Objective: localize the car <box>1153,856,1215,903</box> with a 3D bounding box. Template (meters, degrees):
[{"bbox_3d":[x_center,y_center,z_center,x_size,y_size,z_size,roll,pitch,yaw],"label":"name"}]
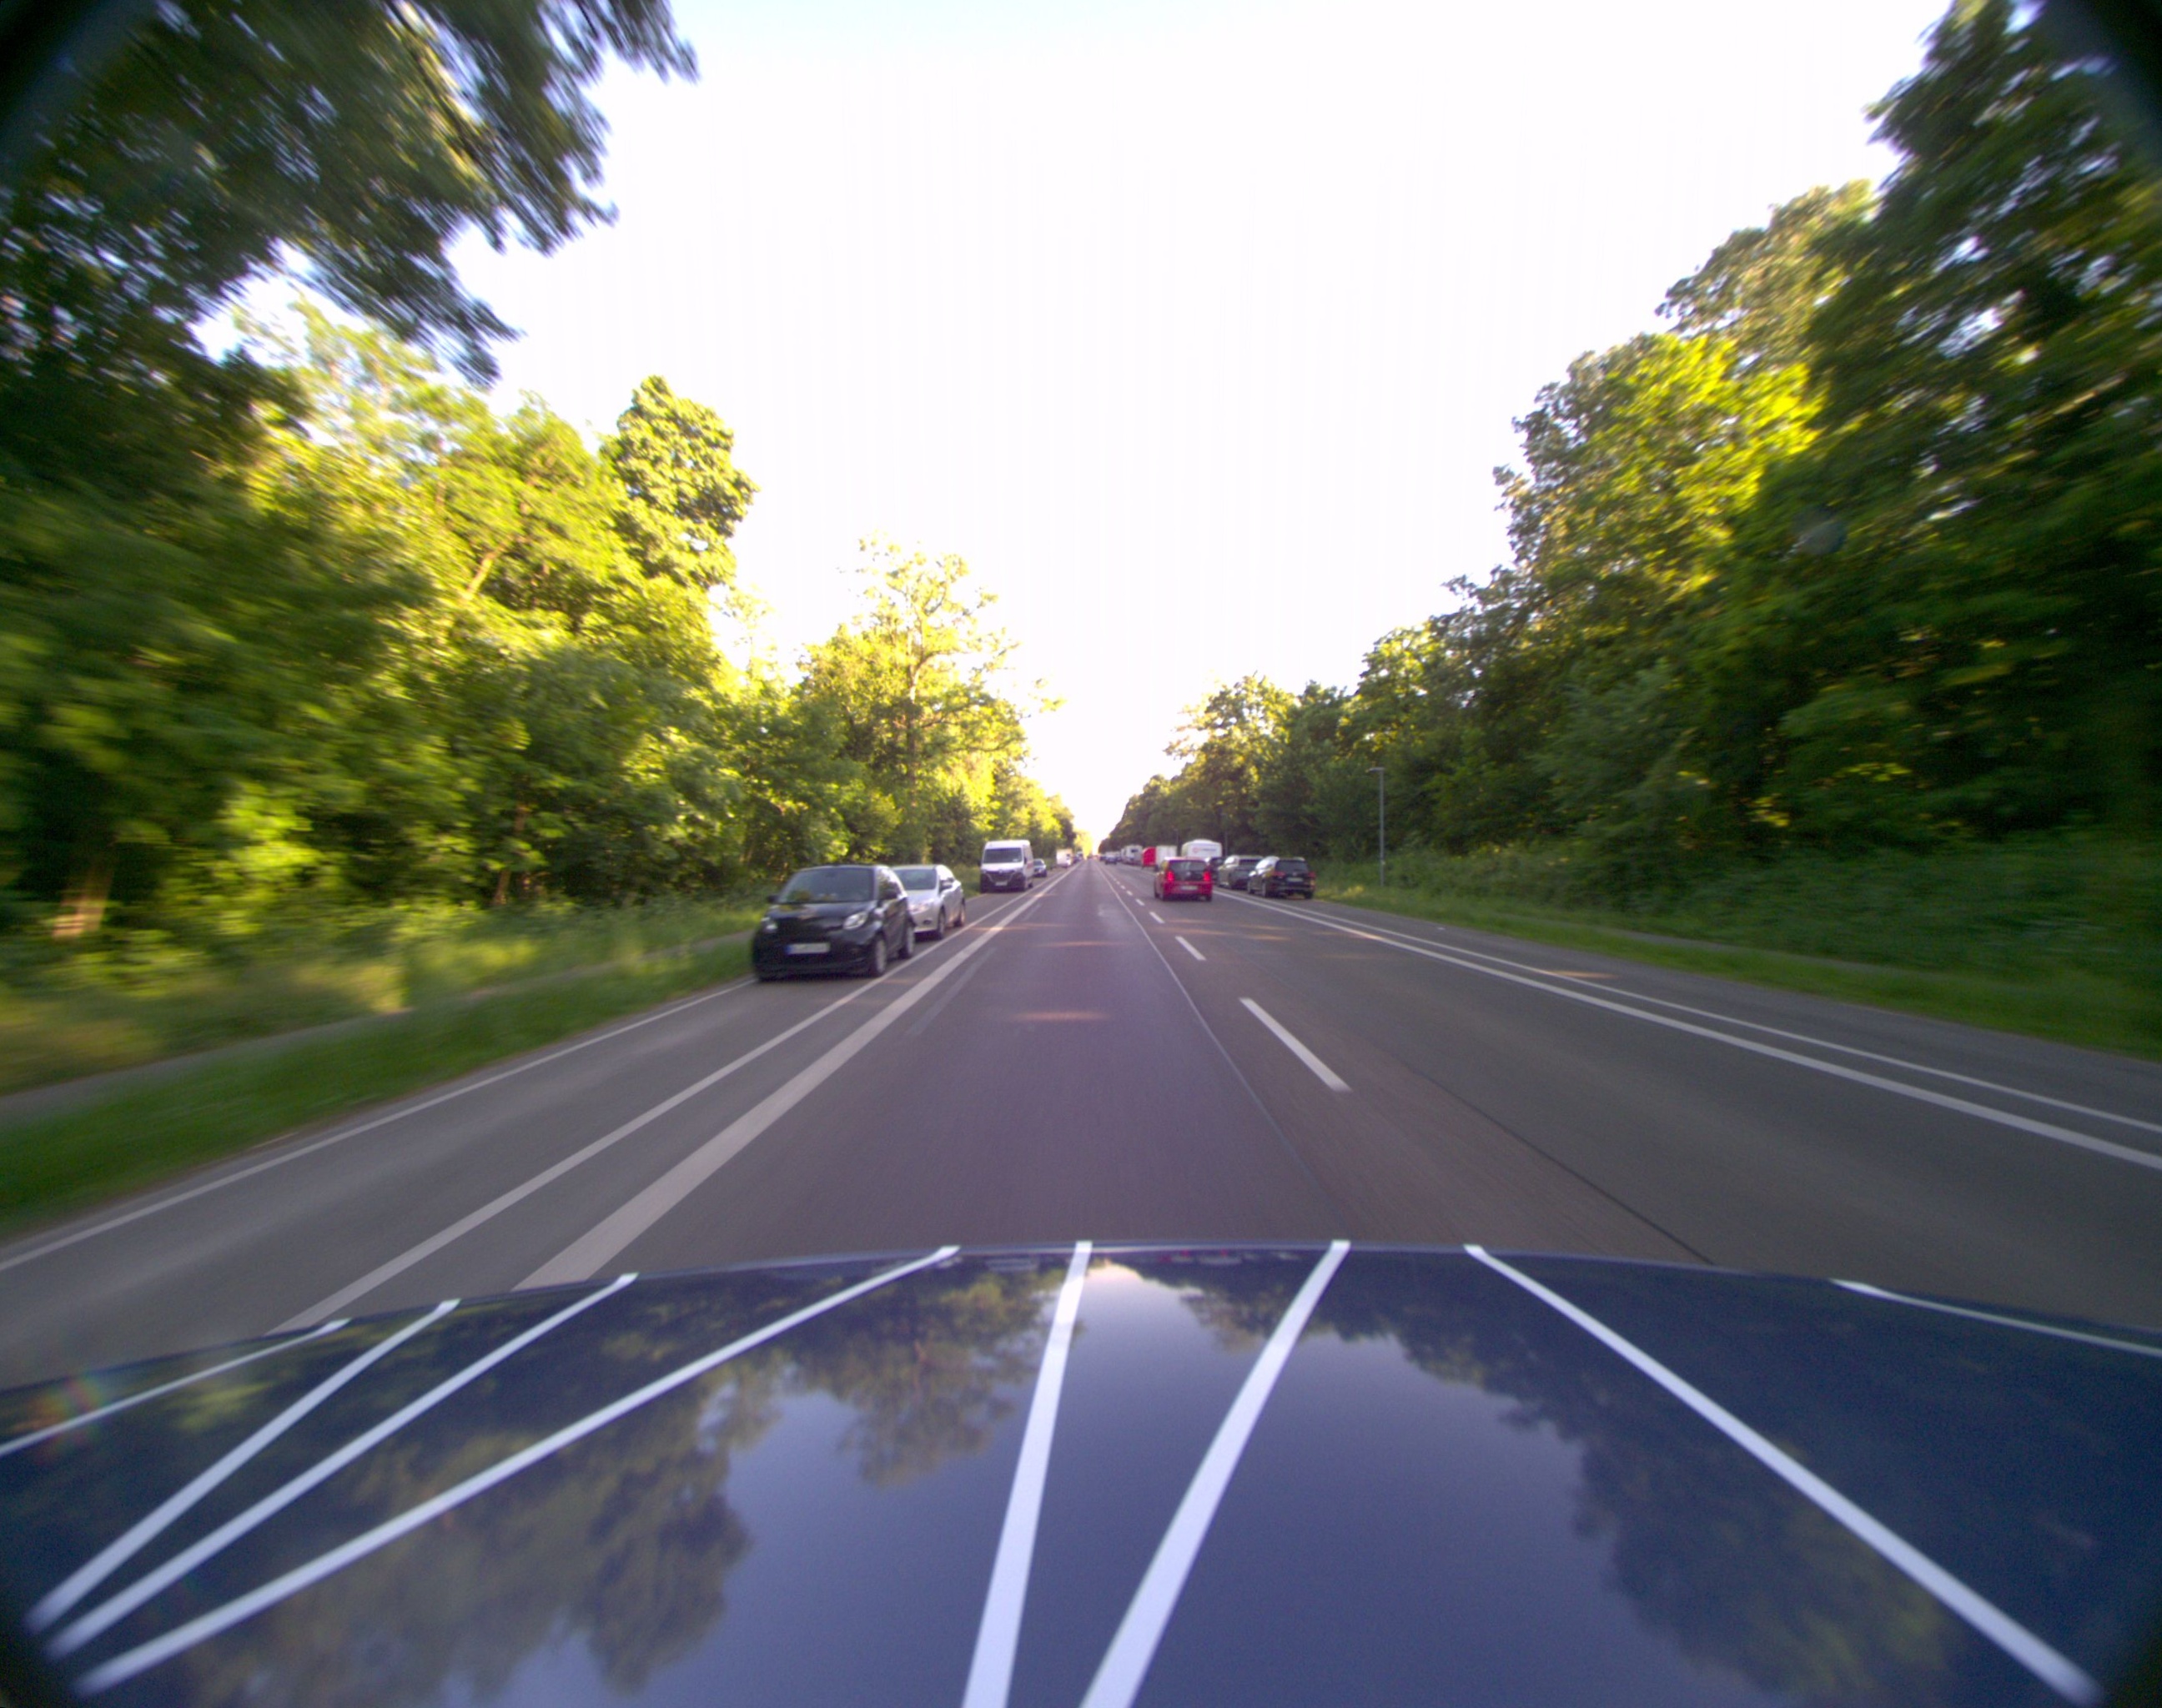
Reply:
[{"bbox_3d":[3.386,0.806,25.498,1.608,1.412,3.518,1,0,1],"label":"car"}]

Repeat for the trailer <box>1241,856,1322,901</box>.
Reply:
[{"bbox_3d":[7.322,0.837,28.188,1.845,1.457,4.466,-1,0,1],"label":"trailer"}]

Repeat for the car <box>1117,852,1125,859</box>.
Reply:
[{"bbox_3d":[9.521,0.347,179.506,1.787,1.485,4.001,0,0,5],"label":"car"}]

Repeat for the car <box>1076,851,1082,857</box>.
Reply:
[{"bbox_3d":[-0.544,0.081,218.590,1.837,1.608,4.000,-1,0,1],"label":"car"}]

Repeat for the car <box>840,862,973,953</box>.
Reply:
[{"bbox_3d":[-3.459,0.990,15.908,1.739,1.479,4.400,-3,0,0],"label":"car"}]

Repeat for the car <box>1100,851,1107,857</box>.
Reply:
[{"bbox_3d":[6.014,0.056,200.344,1.823,1.577,4.459,0,1,1],"label":"car"}]

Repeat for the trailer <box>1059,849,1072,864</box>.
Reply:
[{"bbox_3d":[-2.179,0.336,105.525,1.758,2.149,3.539,-1,0,0],"label":"trailer"}]

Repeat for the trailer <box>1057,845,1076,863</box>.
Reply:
[{"bbox_3d":[-2.421,-0.069,127.814,2.928,2.825,9.881,-4,1,0],"label":"trailer"}]

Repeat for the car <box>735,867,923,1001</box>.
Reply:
[{"bbox_3d":[-3.418,1.014,10.883,1.590,1.521,3.011,-2,0,1],"label":"car"}]

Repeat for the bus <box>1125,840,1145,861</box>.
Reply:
[{"bbox_3d":[9.290,-0.567,132.002,2.835,3.411,11.199,-2,1,1],"label":"bus"}]

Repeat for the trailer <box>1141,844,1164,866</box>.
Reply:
[{"bbox_3d":[7.937,0.103,84.698,2.072,2.466,3.560,0,0,-2],"label":"trailer"}]

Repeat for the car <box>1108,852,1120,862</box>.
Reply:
[{"bbox_3d":[5.403,0.487,125.133,1.824,1.524,4.530,0,1,1],"label":"car"}]

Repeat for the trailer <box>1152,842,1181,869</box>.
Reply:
[{"bbox_3d":[7.893,0.143,70.373,2.072,2.466,3.560,0,0,-2],"label":"trailer"}]

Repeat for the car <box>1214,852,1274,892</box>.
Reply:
[{"bbox_3d":[7.411,0.768,35.072,1.675,1.565,5.126,2,1,1],"label":"car"}]

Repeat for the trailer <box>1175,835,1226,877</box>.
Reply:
[{"bbox_3d":[7.447,0.125,47.680,2.352,2.514,4.343,0,0,-2],"label":"trailer"}]

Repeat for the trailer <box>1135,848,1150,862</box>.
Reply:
[{"bbox_3d":[8.852,0.143,109.512,1.857,2.002,3.561,2,0,1],"label":"trailer"}]

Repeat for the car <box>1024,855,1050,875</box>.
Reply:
[{"bbox_3d":[-3.400,0.851,59.793,1.839,1.412,4.596,-4,0,-2],"label":"car"}]

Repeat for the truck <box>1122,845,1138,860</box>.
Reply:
[{"bbox_3d":[9.192,-0.251,143.276,2.489,2.807,8.424,-1,0,1],"label":"truck"}]

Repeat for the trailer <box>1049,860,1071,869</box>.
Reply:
[{"bbox_3d":[-2.486,1.233,90.878,2.439,0.794,5.659,-2,1,1],"label":"trailer"}]

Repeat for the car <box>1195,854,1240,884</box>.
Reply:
[{"bbox_3d":[7.404,0.773,41.504,1.675,1.486,4.194,2,1,1],"label":"car"}]

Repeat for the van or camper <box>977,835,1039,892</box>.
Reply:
[{"bbox_3d":[-3.378,0.422,36.419,2.130,2.468,6.305,-1,0,2],"label":"van or camper"}]

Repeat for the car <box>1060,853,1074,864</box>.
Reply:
[{"bbox_3d":[-2.022,0.649,111.463,1.892,1.459,4.569,-2,0,1],"label":"car"}]

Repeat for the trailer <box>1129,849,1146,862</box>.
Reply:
[{"bbox_3d":[9.103,0.249,123.247,2.434,1.903,6.264,-1,0,1],"label":"trailer"}]

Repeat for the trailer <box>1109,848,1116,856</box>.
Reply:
[{"bbox_3d":[9.917,-0.632,236.502,1.998,2.227,3.999,-2,1,1],"label":"trailer"}]

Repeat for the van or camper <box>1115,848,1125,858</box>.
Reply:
[{"bbox_3d":[9.822,-0.209,191.733,2.253,2.599,5.984,-1,0,1],"label":"van or camper"}]
